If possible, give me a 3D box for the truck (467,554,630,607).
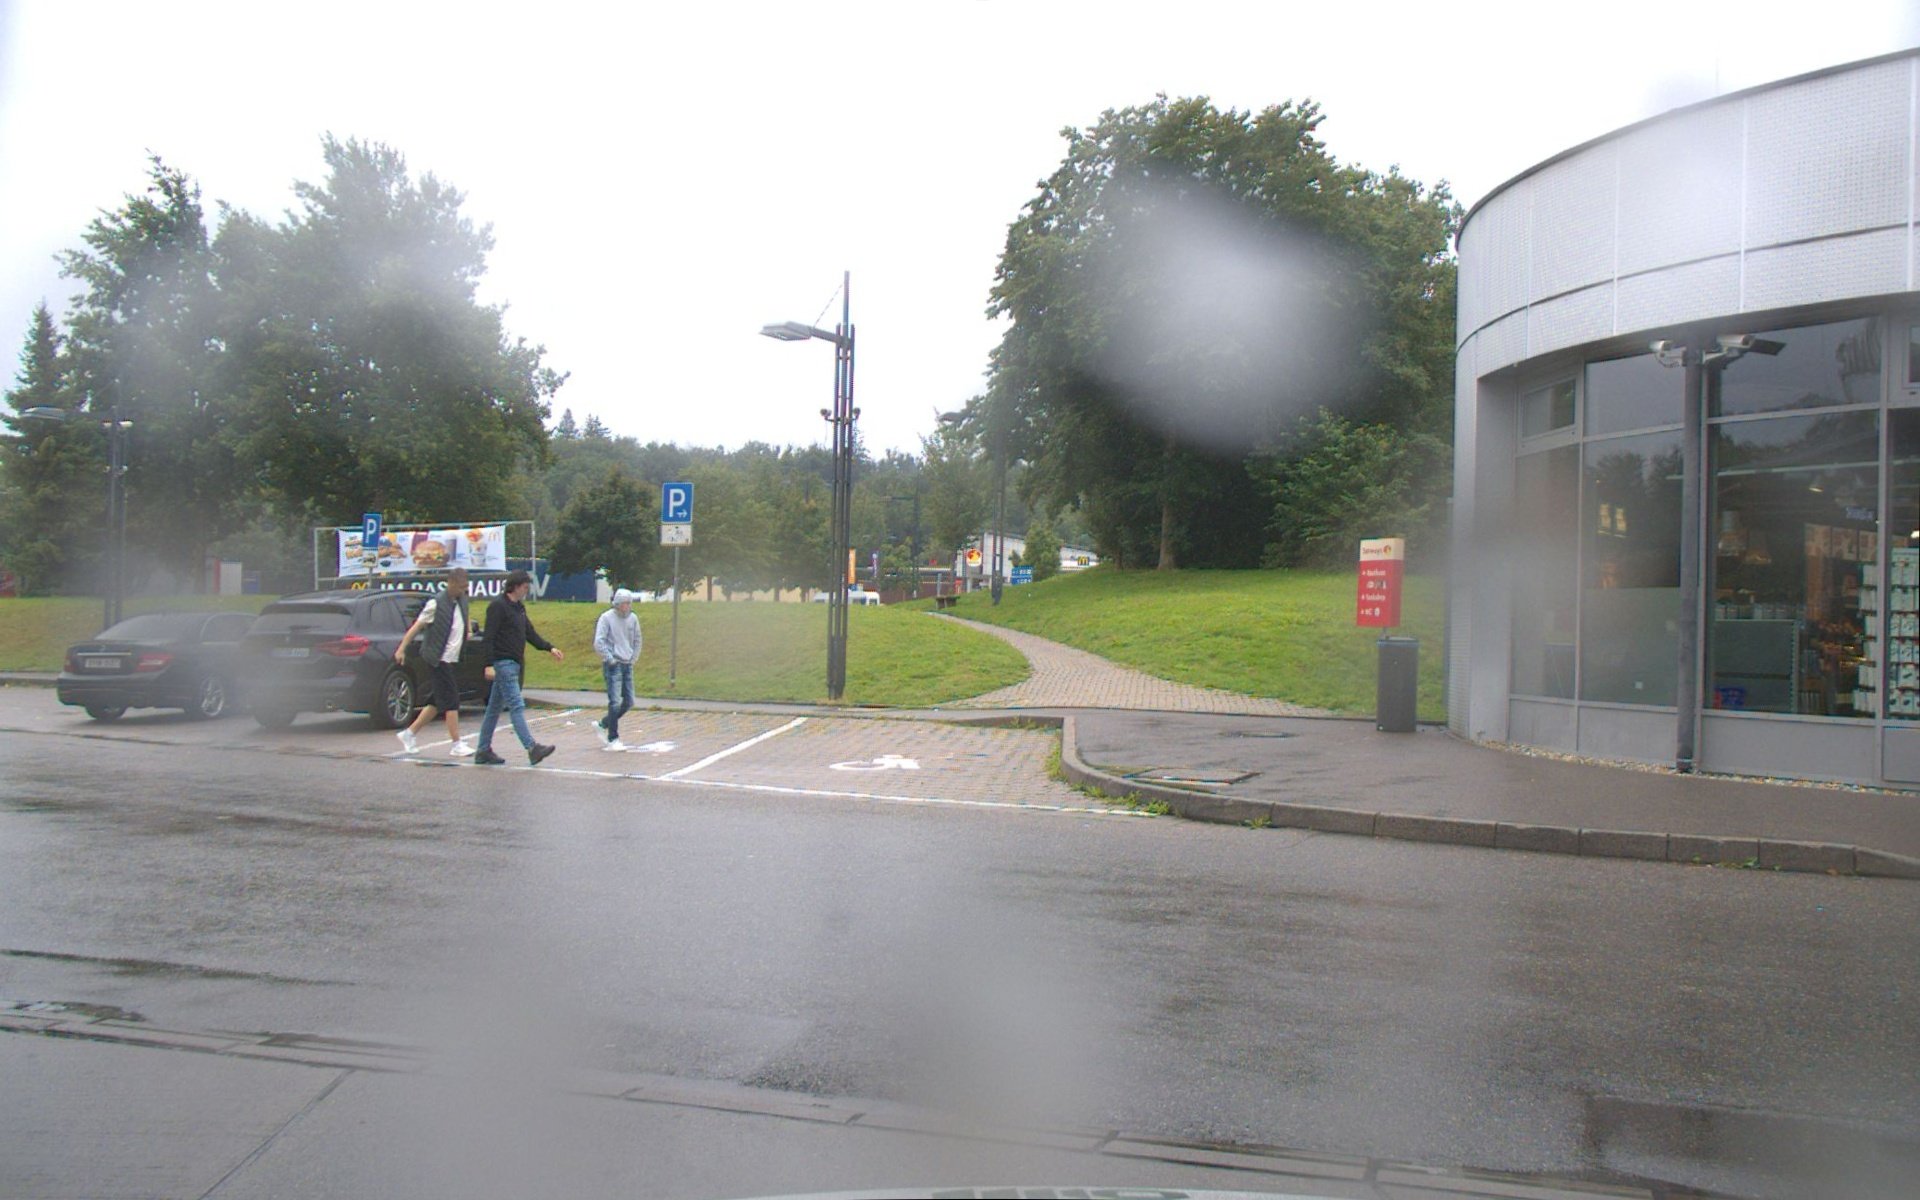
[{"bbox_3d":[-24.937,-1.089,101.250,2.142,2.971,13.092,1,0,23],"label":"truck"}]

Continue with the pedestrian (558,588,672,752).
[{"bbox_3d":[-3.595,0.716,17.281,0.930,1.660,0.704,1,-1,13],"label":"pedestrian"}]

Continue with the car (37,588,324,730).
[{"bbox_3d":[-10.582,0.719,22.870,1.976,1.741,4.342,-1,1,-2],"label":"car"}]

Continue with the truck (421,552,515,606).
[{"bbox_3d":[-27.988,-1.172,94.235,2.142,2.971,5.384,1,0,24],"label":"truck"}]

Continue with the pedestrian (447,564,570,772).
[{"bbox_3d":[-4.285,0.629,15.735,0.871,1.920,0.704,1,-1,11],"label":"pedestrian"}]

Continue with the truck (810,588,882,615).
[{"bbox_3d":[-9.239,0.135,133.647,5.298,2.049,2.366,1,0,24],"label":"truck"}]

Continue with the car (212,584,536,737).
[{"bbox_3d":[-7.375,0.693,21.351,1.973,1.741,4.347,-1,1,11],"label":"car"}]

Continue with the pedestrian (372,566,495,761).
[{"bbox_3d":[-5.357,0.629,16.845,0.931,1.920,0.704,1,-1,20],"label":"pedestrian"}]
